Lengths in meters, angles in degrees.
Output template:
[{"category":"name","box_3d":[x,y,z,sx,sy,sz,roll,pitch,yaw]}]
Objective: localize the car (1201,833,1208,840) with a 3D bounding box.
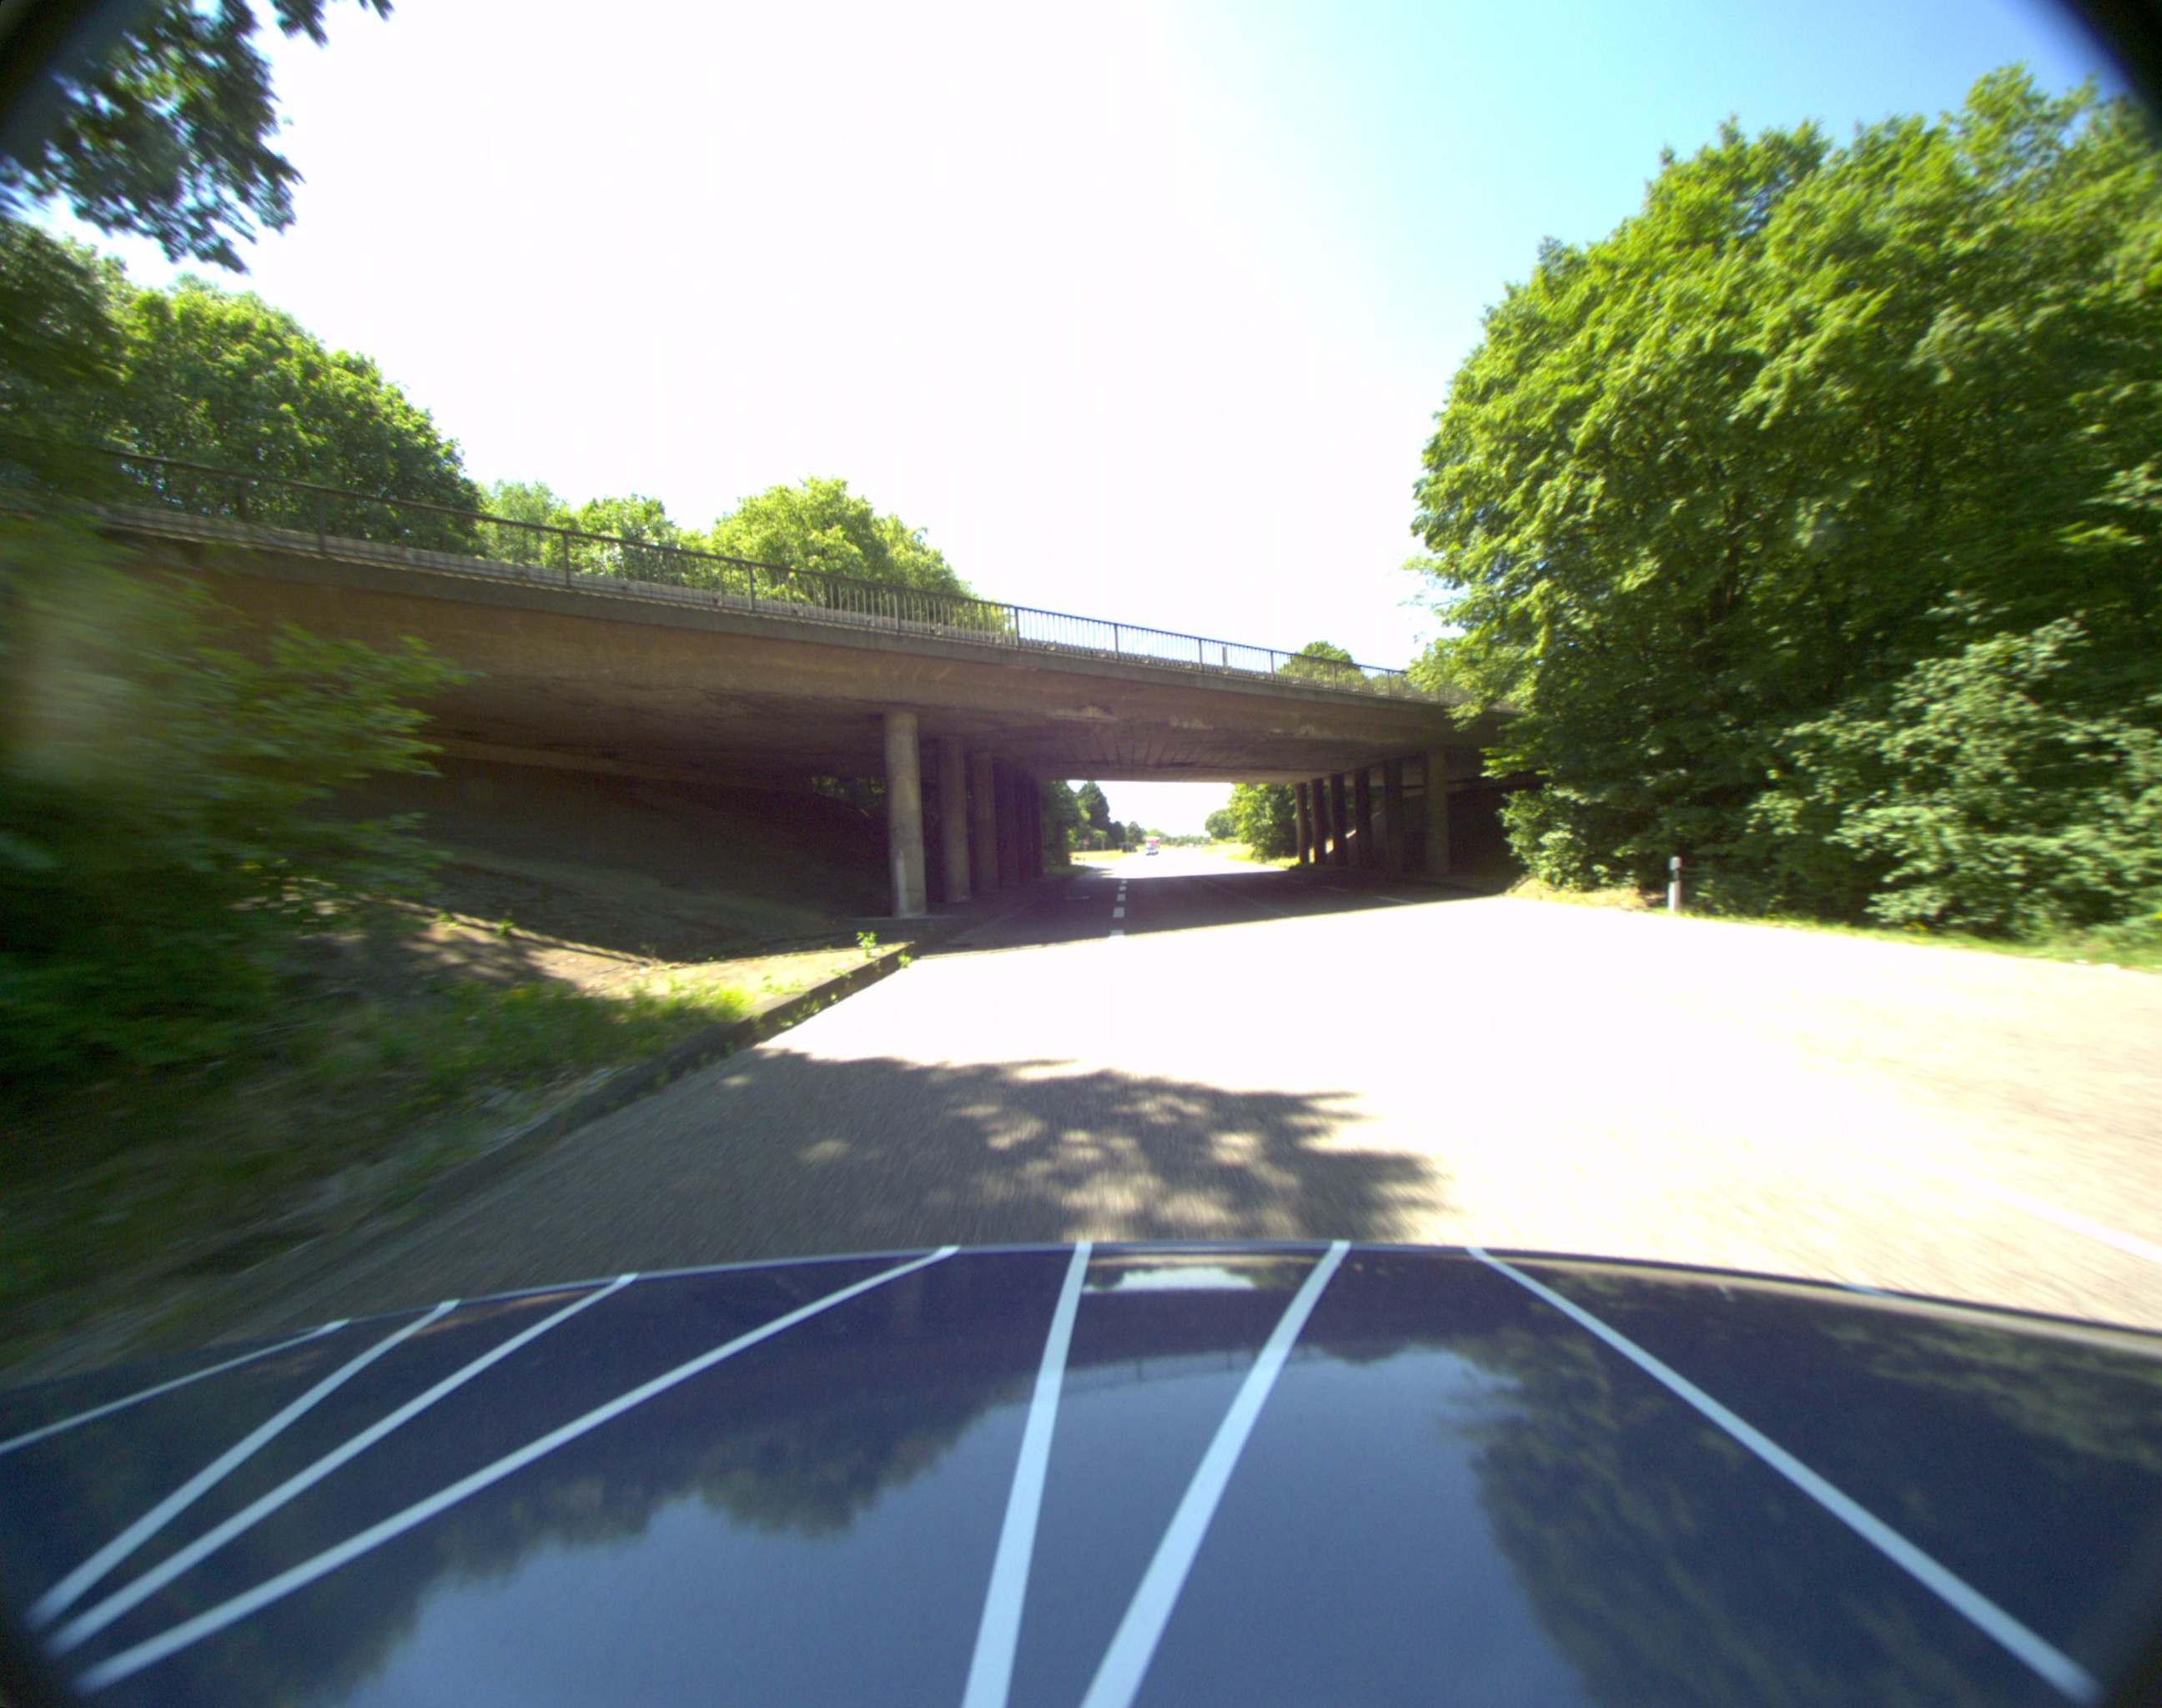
[{"category":"car","box_3d":[38.568,-5.404,237.056,1.844,2.002,4.002,-2,1,7]}]

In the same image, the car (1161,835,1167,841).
[{"category":"car","box_3d":[28.580,-5.674,262.805,1.997,2.002,4.001,-2,1,7]}]

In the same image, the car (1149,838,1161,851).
[{"category":"car","box_3d":[11.705,-1.527,120.046,1.746,1.833,4.000,-2,1,4]}]

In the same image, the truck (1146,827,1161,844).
[{"category":"truck","box_3d":[13.453,-3.392,141.232,2.457,2.927,6.975,-2,1,5]}]
